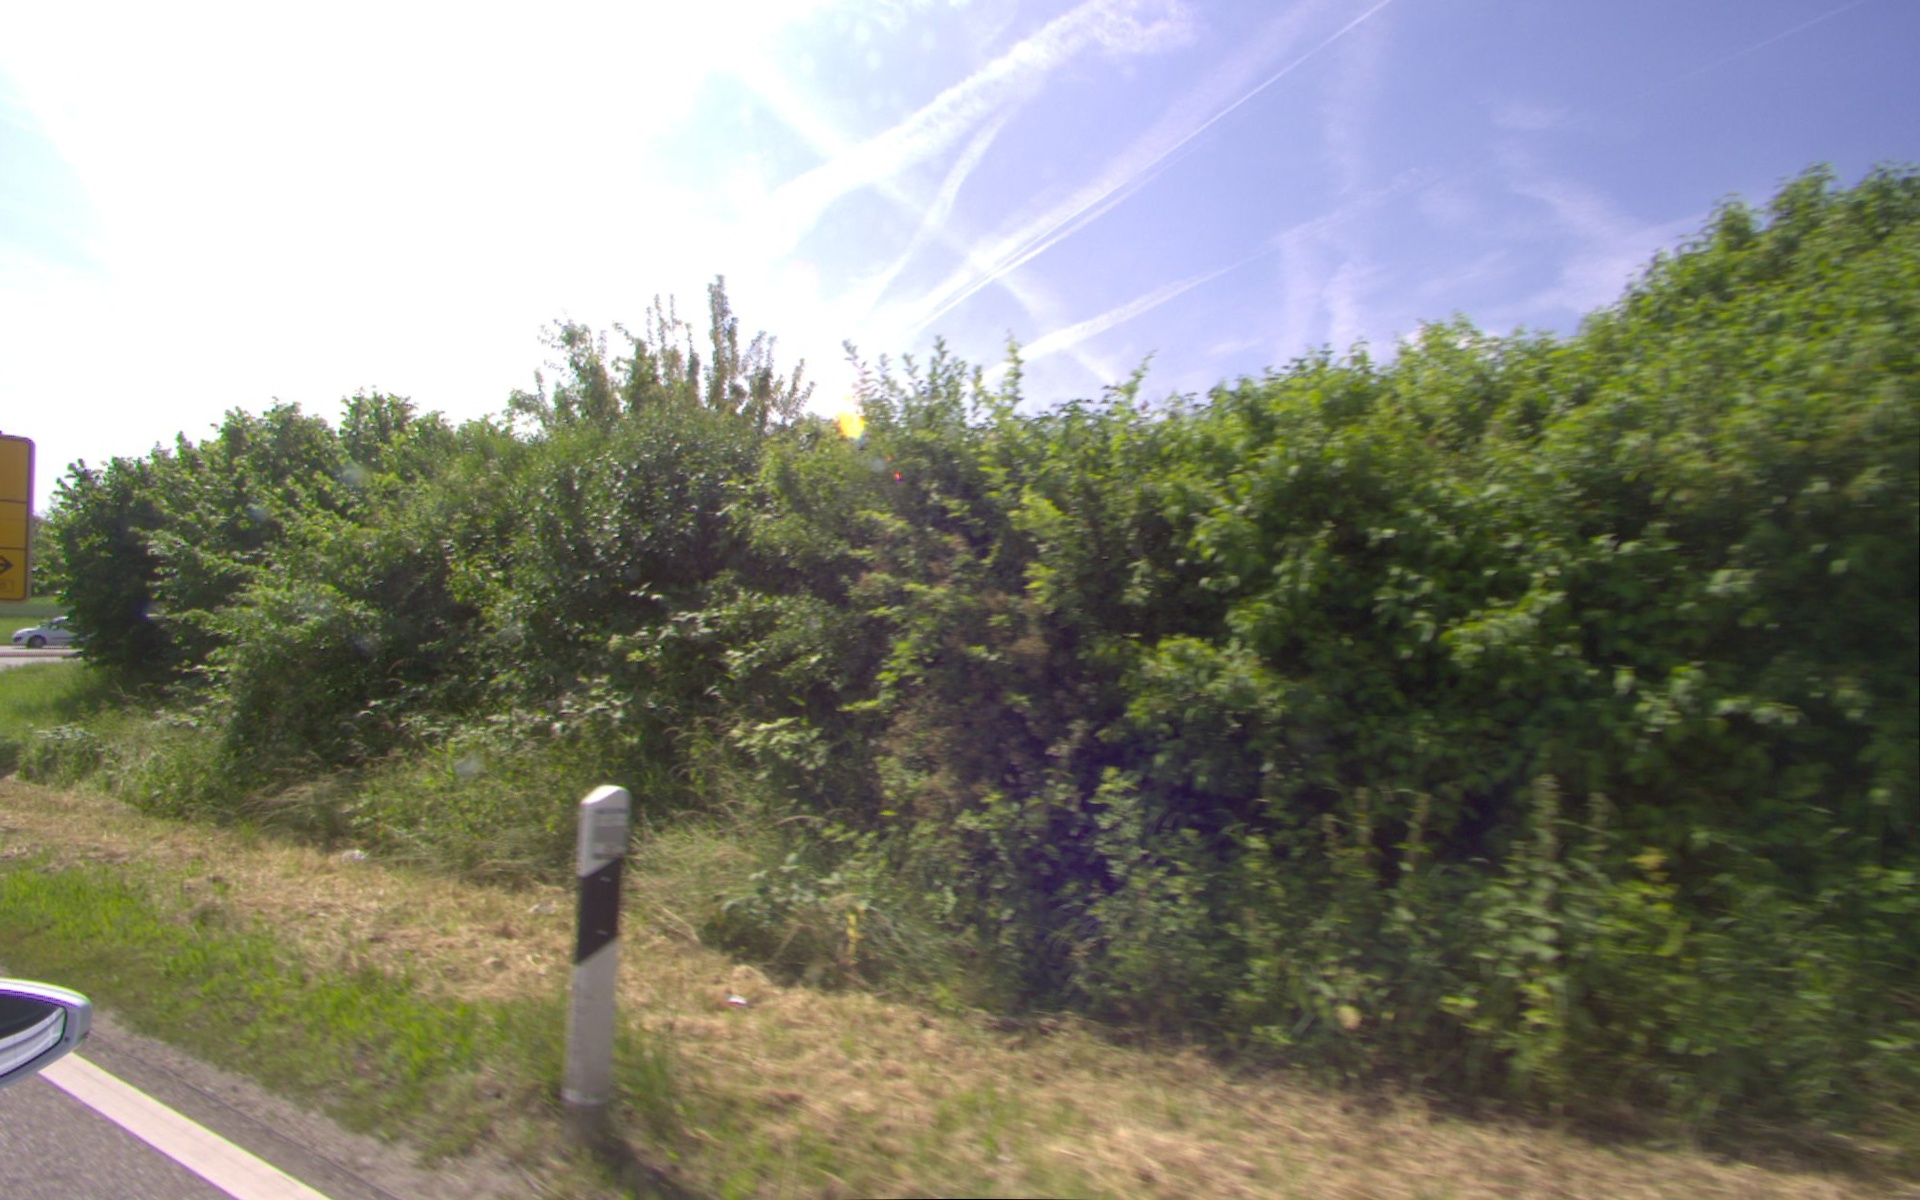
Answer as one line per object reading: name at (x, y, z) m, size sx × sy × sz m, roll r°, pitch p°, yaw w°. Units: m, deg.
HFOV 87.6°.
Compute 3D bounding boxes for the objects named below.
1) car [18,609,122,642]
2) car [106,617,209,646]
car at (-45.212, 1.309, 50.892) m, size 1.742 × 1.654 × 3.807 m, roll -1°, pitch -2°, yaw 43°
car at (-40.488, 1.618, 50.590) m, size 1.658 × 1.374 × 3.829 m, roll -1°, pitch -3°, yaw 43°
